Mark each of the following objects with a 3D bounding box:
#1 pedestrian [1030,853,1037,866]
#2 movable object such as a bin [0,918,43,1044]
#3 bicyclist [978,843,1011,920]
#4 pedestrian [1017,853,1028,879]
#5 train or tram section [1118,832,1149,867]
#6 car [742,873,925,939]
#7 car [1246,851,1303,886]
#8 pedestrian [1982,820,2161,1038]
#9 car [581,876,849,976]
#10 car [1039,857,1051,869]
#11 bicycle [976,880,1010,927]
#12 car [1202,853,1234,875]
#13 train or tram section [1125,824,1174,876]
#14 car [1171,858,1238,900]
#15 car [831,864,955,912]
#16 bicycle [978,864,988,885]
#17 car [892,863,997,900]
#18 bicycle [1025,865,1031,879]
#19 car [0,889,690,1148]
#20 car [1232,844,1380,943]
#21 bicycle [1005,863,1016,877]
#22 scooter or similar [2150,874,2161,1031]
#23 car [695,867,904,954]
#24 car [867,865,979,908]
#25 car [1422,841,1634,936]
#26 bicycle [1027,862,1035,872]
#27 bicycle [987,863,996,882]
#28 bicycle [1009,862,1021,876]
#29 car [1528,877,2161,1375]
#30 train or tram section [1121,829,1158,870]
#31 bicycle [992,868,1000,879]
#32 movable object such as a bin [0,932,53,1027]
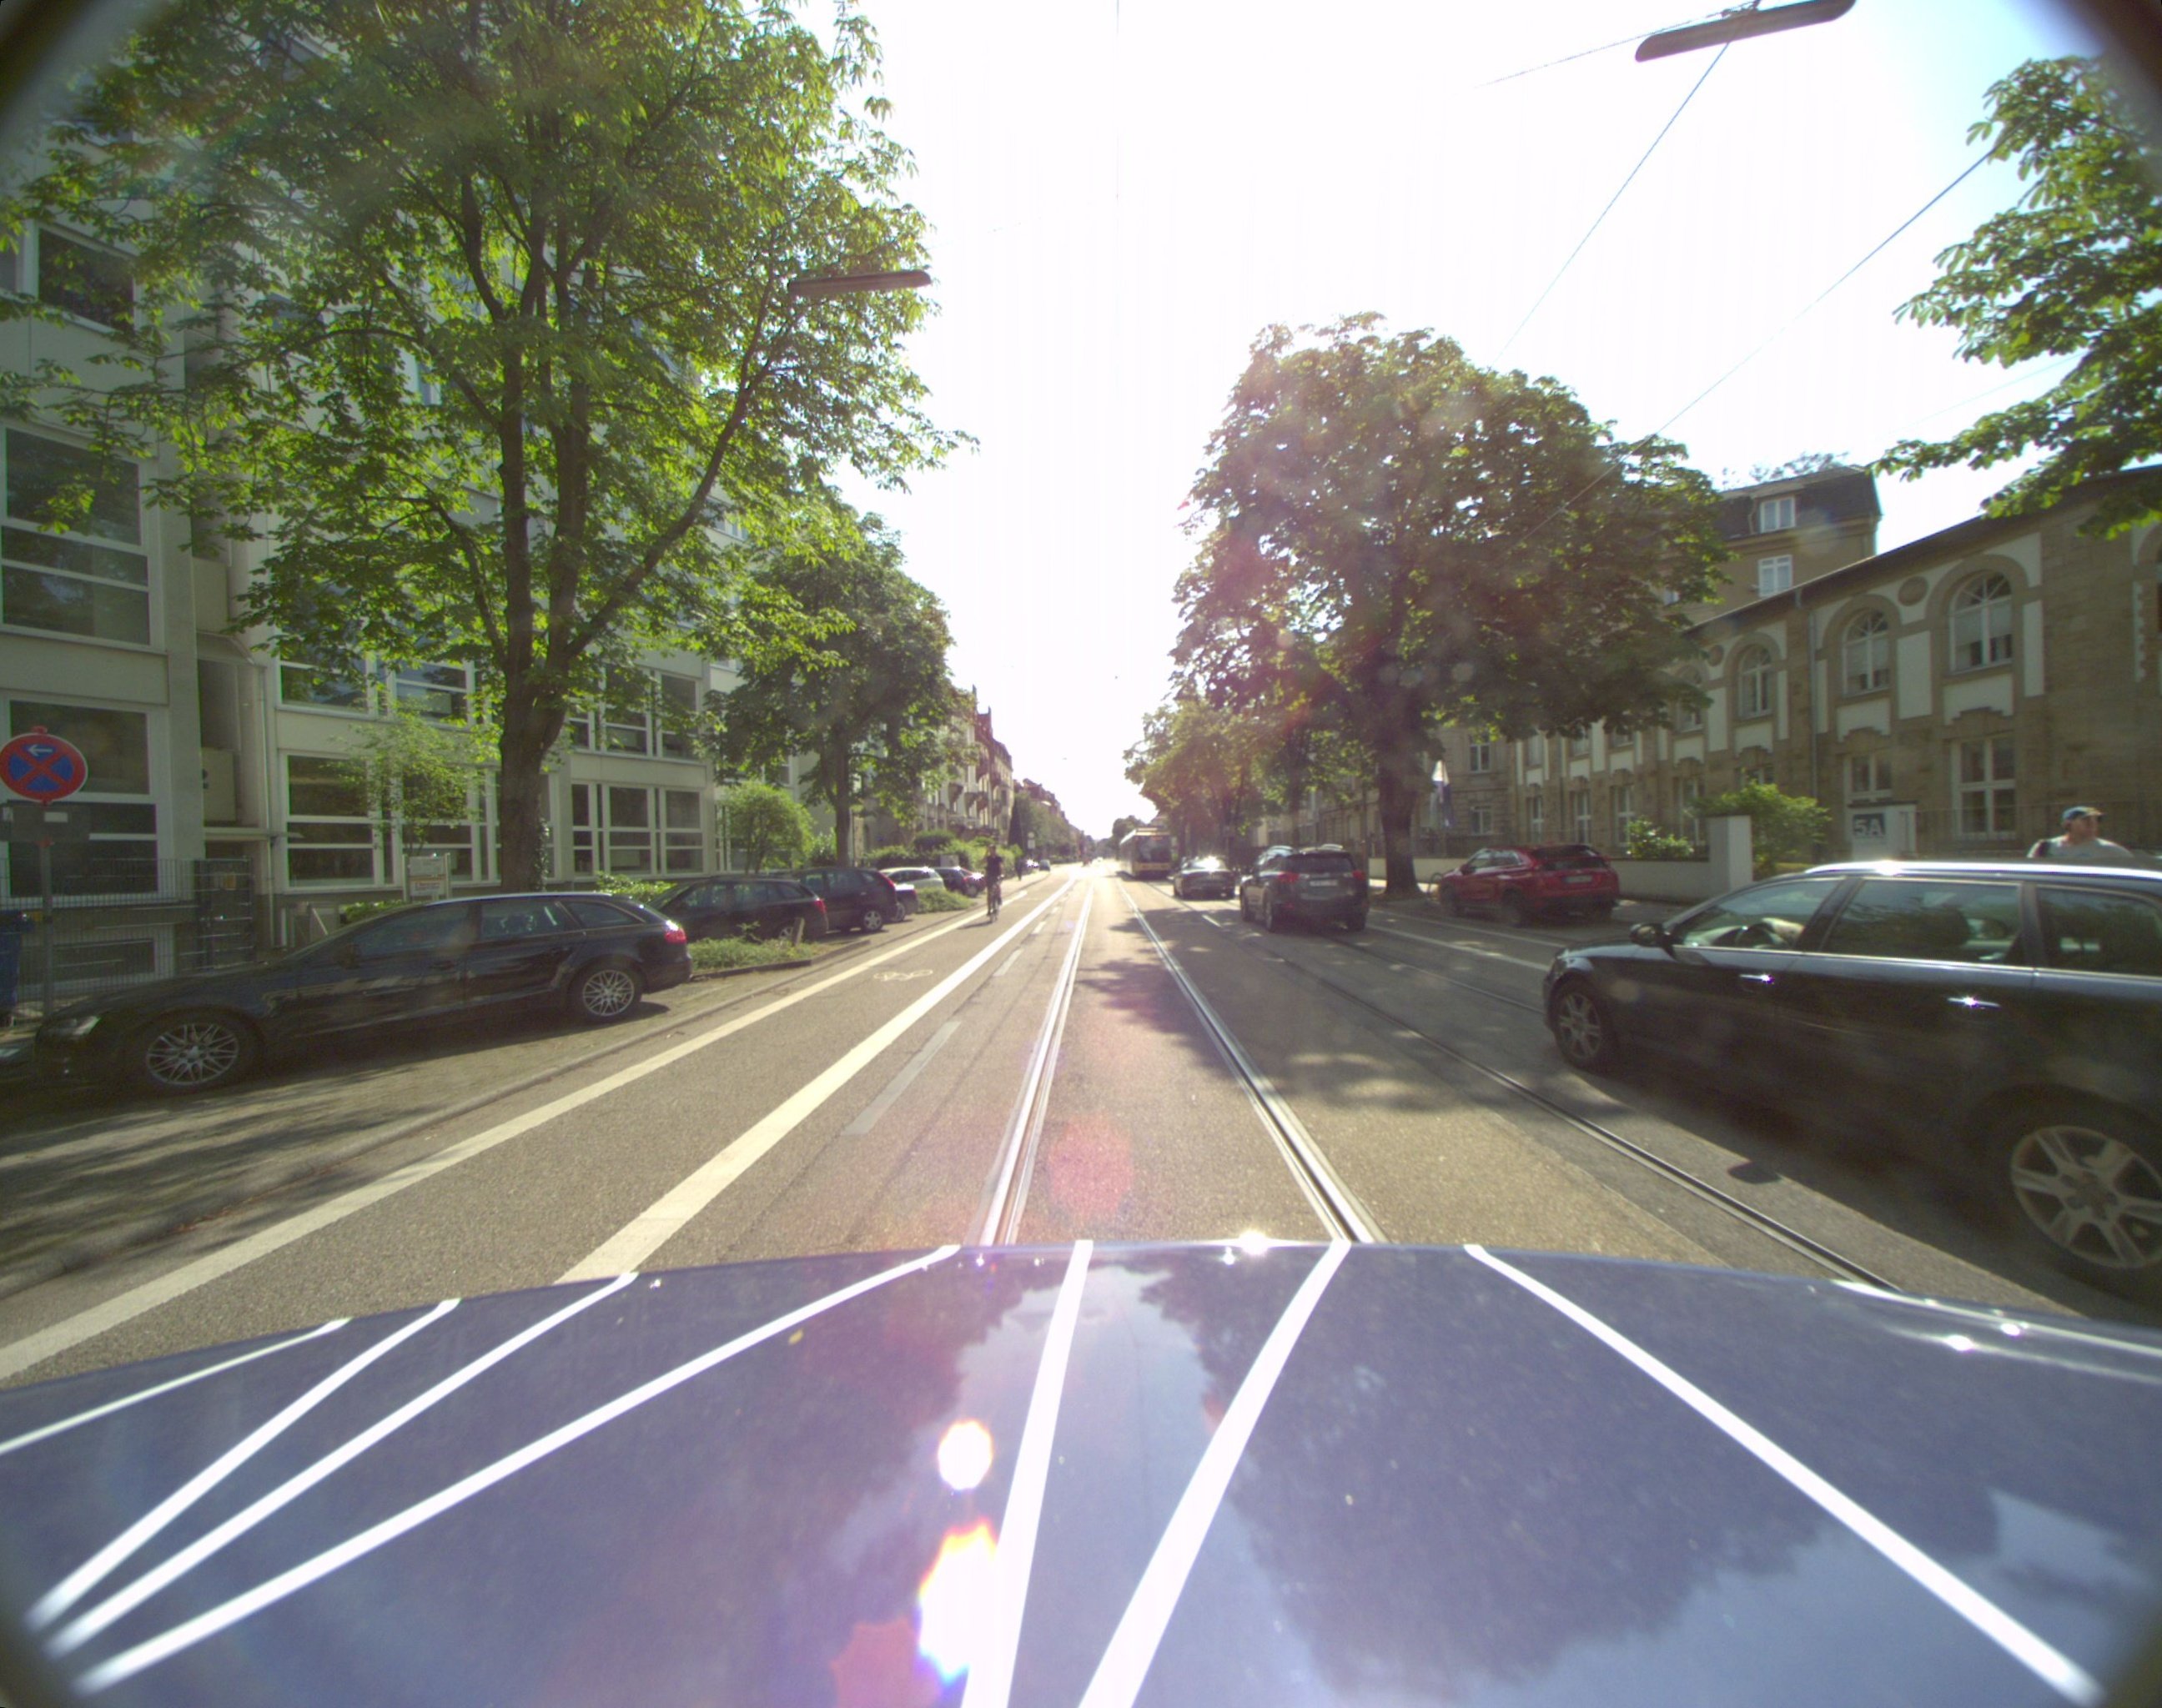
[{"bbox_3d":[-7.098,0.855,113.067,0.661,1.831,0.873,8,-1,-7],"label":"pedestrian"},{"bbox_3d":[-12.148,1.394,7.730,1.278,1.311,1.325,-3,1,1],"label":"movable object such as a bin"},{"bbox_3d":[-2.276,0.694,20.039,0.608,1.937,1.130,-3,1,1],"label":"bicyclist"},{"bbox_3d":[-4.223,0.863,54.859,0.790,1.850,0.580,1,1,-6],"label":"pedestrian"},{"bbox_3d":[5.438,-0.503,80.190,2.659,3.416,12.315,0,1,2],"label":"train or tram section"},{"bbox_3d":[-6.540,1.308,20.338,4.183,1.341,1.900,-3,0,-43],"label":"car"},{"bbox_3d":[10.000,0.699,39.625,1.811,1.631,4.331,-3,0,1],"label":"car"},{"bbox_3d":[8.706,0.610,6.627,0.790,1.756,0.752,-3,1,-8],"label":"pedestrian"},{"bbox_3d":[-6.630,1.229,14.027,4.084,1.434,1.722,-1,-2,-43],"label":"car"},{"bbox_3d":[-4.832,1.215,102.308,1.517,1.490,2.794,1,0,-1],"label":"car"},{"bbox_3d":[-2.269,1.261,19.789,0.617,1.039,1.835,1,2,1],"label":"bicycle"},{"bbox_3d":[10.437,0.722,58.044,1.658,1.476,3.808,-3,1,0],"label":"car"},{"bbox_3d":[4.779,-0.315,55.575,2.659,3.336,14.108,0,1,2],"label":"train or tram section"},{"bbox_3d":[4.431,0.854,27.908,1.803,1.380,4.426,-1,0,1],"label":"car"},{"bbox_3d":[-6.635,1.166,27.057,4.008,1.452,1.531,-2,0,-44],"label":"car"},{"bbox_3d":[-5.590,1.152,43.360,0.280,1.102,2.011,2,1,1],"label":"bicycle"},{"bbox_3d":[-5.979,1.160,33.607,4.168,1.415,1.861,-1,0,-41],"label":"car"},{"bbox_3d":[-4.788,1.601,69.102,0.452,1.253,1.844,1,0,-2],"label":"bicycle"},{"bbox_3d":[-6.654,1.242,7.453,4.544,1.434,2.026,-4,1,-44],"label":"car"},{"bbox_3d":[4.445,0.676,15.723,1.830,1.717,4.391,-2,1,1],"label":"car"},{"bbox_3d":[-5.165,1.144,55.699,0.614,0.983,1.872,1,1,1],"label":"bicycle"},{"bbox_3d":[9.412,0.771,5.776,1.342,1.272,0.855,-3,1,0],"label":"scooter or similar"},{"bbox_3d":[-6.364,1.196,17.395,4.007,1.565,1.900,-3,0,-40],"label":"car"},{"bbox_3d":[-6.275,1.253,30.440,4.007,1.440,1.695,-2,0,-41],"label":"car"},{"bbox_3d":[9.322,0.626,16.398,1.754,1.656,4.720,-3,0,0],"label":"car"},{"bbox_3d":[-4.892,1.283,74.287,0.600,0.955,3.066,2,0,-2],"label":"bicycle"},{"bbox_3d":[-5.521,1.123,46.877,0.280,1.102,2.011,2,1,1],"label":"bicycle"},{"bbox_3d":[-5.037,1.147,58.097,0.612,0.990,2.362,1,1,1],"label":"bicycle"},{"bbox_3d":[4.114,0.868,3.541,1.727,1.368,4.000,0,0,0],"label":"car"},{"bbox_3d":[5.124,-0.431,68.336,2.659,3.369,11.473,0,1,2],"label":"train or tram section"},{"bbox_3d":[-5.475,1.244,48.789,0.280,0.673,1.559,2,1,1],"label":"bicycle"},{"bbox_3d":[-13.998,1.614,9.657,1.032,1.084,0.932,1,1,26],"label":"movable object such as a bin"}]
